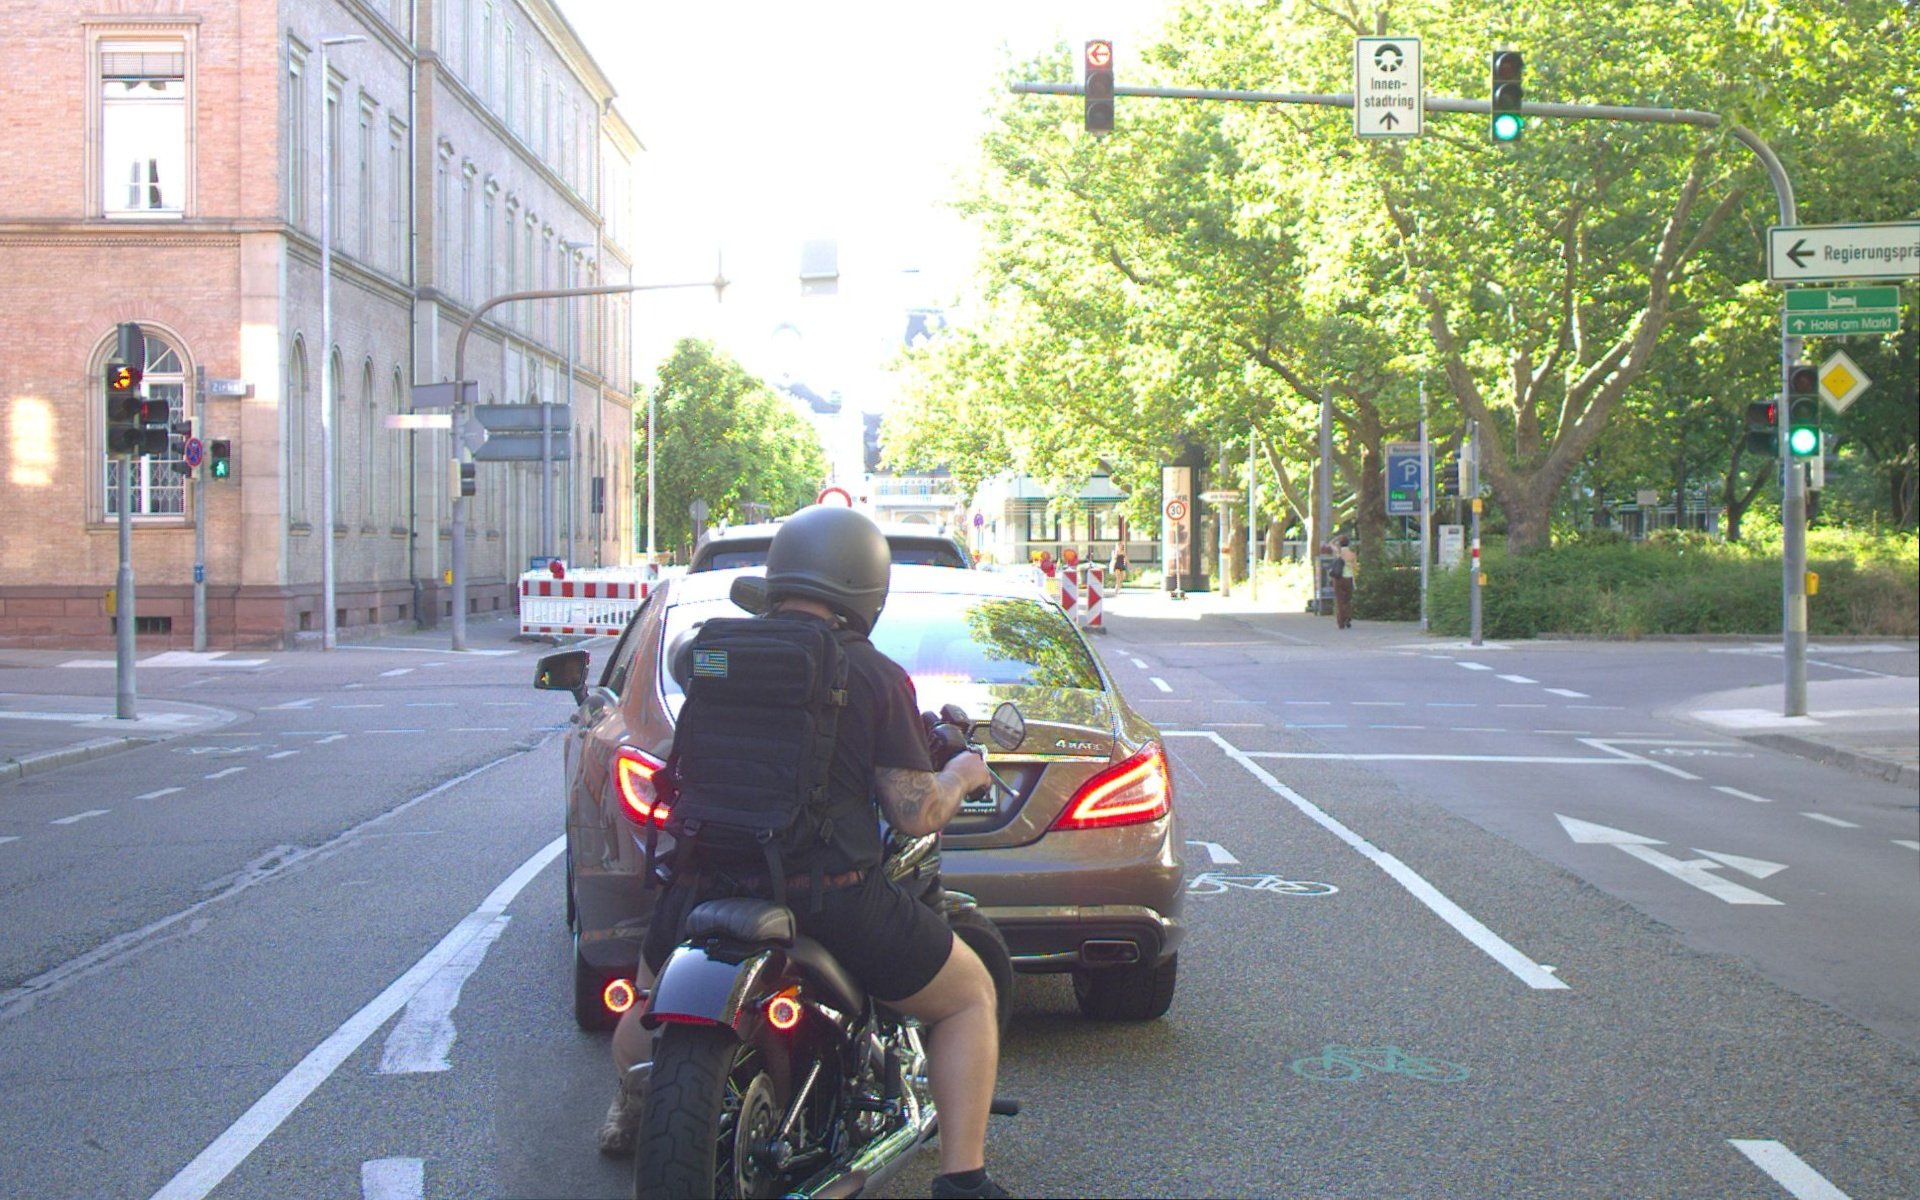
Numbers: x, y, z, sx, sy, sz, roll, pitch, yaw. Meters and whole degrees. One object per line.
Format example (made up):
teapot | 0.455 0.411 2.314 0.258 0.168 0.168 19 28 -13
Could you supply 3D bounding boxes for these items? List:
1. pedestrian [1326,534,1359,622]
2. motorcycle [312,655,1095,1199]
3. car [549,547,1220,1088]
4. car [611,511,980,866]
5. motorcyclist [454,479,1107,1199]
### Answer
pedestrian | 7.302 -0.425 65.715 0.559 1.672 0.565 0 1 -1
motorcycle | -0.399 0.766 7.208 1.007 1.200 2.664 0 1 10
car | -0.457 0.559 11.633 1.821 1.471 4.354 0 1 -7
car | -0.811 0.374 17.623 1.681 1.619 3.841 0 1 -2
motorcyclist | -0.328 0.562 7.161 1.113 1.607 1.202 0 1 10
